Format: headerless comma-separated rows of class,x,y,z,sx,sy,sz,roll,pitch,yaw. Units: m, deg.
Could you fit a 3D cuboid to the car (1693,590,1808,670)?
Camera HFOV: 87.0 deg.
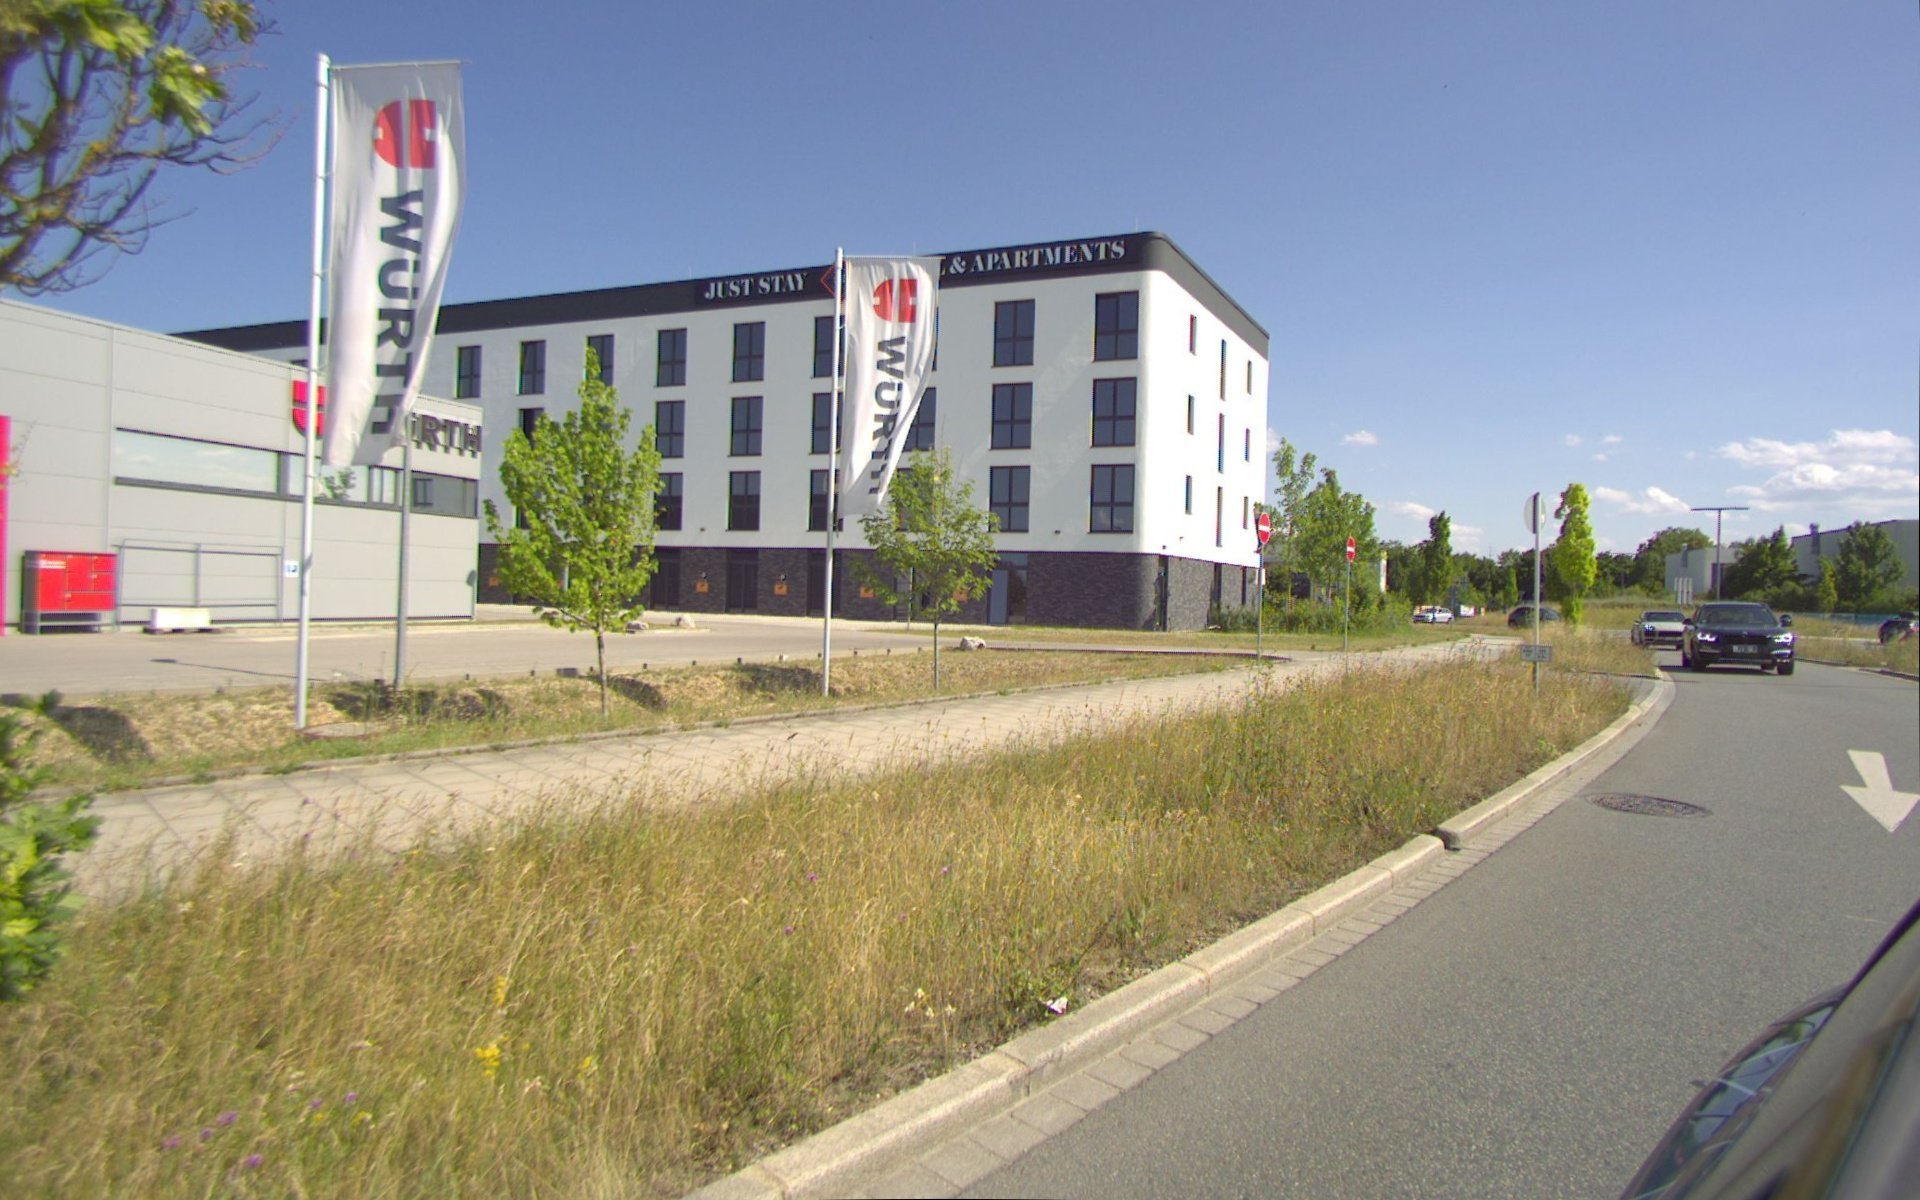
car,18.710,0.695,24.127,1.890,1.701,4.409,1,-1,35

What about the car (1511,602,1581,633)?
car,35.689,1.044,61.736,1.725,1.709,4.380,1,1,1

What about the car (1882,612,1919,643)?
car,52.965,1.499,56.097,4.435,1.627,1.758,1,1,-34

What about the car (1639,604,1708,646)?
car,30.616,1.074,43.547,2.100,1.664,4.722,1,-1,32

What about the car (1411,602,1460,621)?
car,40.862,0.974,86.955,3.920,1.545,2.002,1,1,-31
